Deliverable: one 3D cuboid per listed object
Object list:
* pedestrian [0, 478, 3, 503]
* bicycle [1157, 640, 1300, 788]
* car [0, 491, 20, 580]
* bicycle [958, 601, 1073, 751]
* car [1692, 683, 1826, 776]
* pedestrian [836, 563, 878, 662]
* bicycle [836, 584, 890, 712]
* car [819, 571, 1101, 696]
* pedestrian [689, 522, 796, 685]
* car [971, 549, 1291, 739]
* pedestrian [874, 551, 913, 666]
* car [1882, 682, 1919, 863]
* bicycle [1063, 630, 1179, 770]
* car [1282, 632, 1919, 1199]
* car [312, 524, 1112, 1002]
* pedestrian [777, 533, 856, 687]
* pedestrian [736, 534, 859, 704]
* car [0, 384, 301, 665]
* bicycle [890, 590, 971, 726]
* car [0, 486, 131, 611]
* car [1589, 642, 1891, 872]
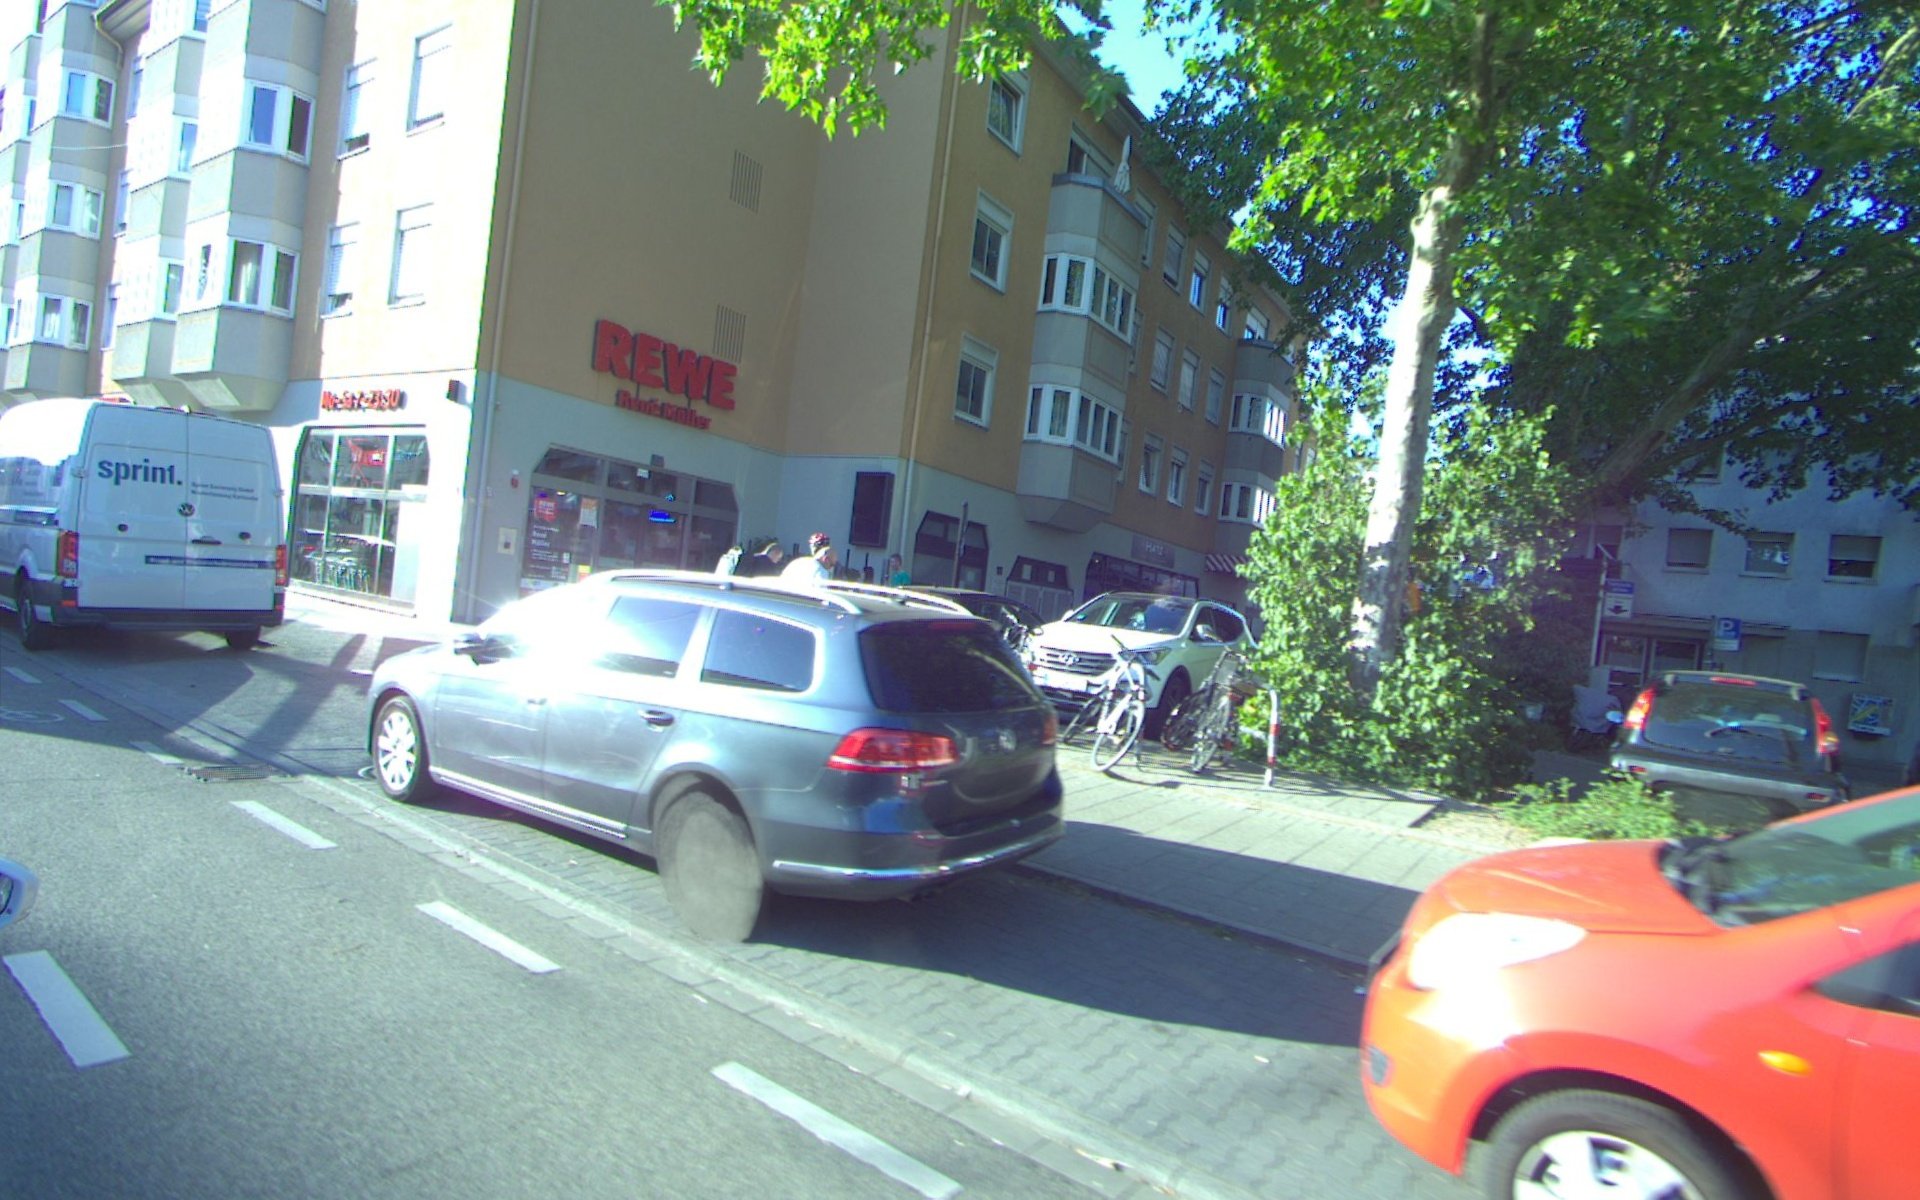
[{"bbox_3d":[-25.624,-2.360,26.380,0.443,1.805,0.547,6,-1,36],"label":"pedestrian"},{"bbox_3d":[2.248,0.919,8.642,0.639,1.026,1.679,6,0,-1],"label":"bicycle"},{"bbox_3d":[-18.920,-1.370,18.352,4.165,1.556,1.838,6,0,37],"label":"car"},{"bbox_3d":[0.489,0.675,9.623,0.636,1.242,1.580,6,0,-10],"label":"bicycle"},{"bbox_3d":[17.190,2.737,21.826,1.969,1.553,4.049,7,0,37],"label":"car"},{"bbox_3d":[-1.735,0.212,16.976,0.413,1.588,0.639,6,1,7],"label":"pedestrian"},{"bbox_3d":[-1.023,0.482,10.806,0.396,1.242,1.519,6,0,-3],"label":"bicycle"},{"bbox_3d":[0.151,0.527,14.166,1.970,1.449,4.015,3,-2,35],"label":"car"},{"bbox_3d":[-2.540,0.035,11.770,0.756,1.776,0.805,8,5,36],"label":"pedestrian"},{"bbox_3d":[2.336,0.668,12.464,1.969,1.728,4.625,7,-3,35],"label":"car"},{"bbox_3d":[-1.142,0.141,17.320,0.465,1.905,0.575,6,1,-4],"label":"pedestrian"},{"bbox_3d":[8.921,1.507,7.875,1.827,1.618,4.028,7,-3,35],"label":"car"},{"bbox_3d":[1.380,0.830,8.909,0.639,1.026,1.582,6,0,-1],"label":"bicycle"},{"bbox_3d":[2.828,1.022,2.286,3.570,1.514,1.567,6,2,37],"label":"car"},{"bbox_3d":[-1.648,0.527,5.666,4.578,1.551,1.695,6,3,34],"label":"car"},{"bbox_3d":[-1.770,0.112,12.380,0.639,1.807,0.527,7,5,29],"label":"pedestrian"},{"bbox_3d":[-1.730,0.183,10.708,0.973,1.659,0.659,7,5,29],"label":"pedestrian"},{"bbox_3d":[-10.038,-0.919,11.775,5.696,2.586,2.014,6,4,37],"label":"car"},{"bbox_3d":[-0.301,0.557,10.404,0.639,1.242,1.582,6,0,-1],"label":"bicycle"},{"bbox_3d":[-14.254,-0.875,15.149,3.728,1.608,1.838,6,0,37],"label":"car"},{"bbox_3d":[7.052,1.396,9.366,1.746,1.499,3.503,7,-3,35],"label":"car"}]
